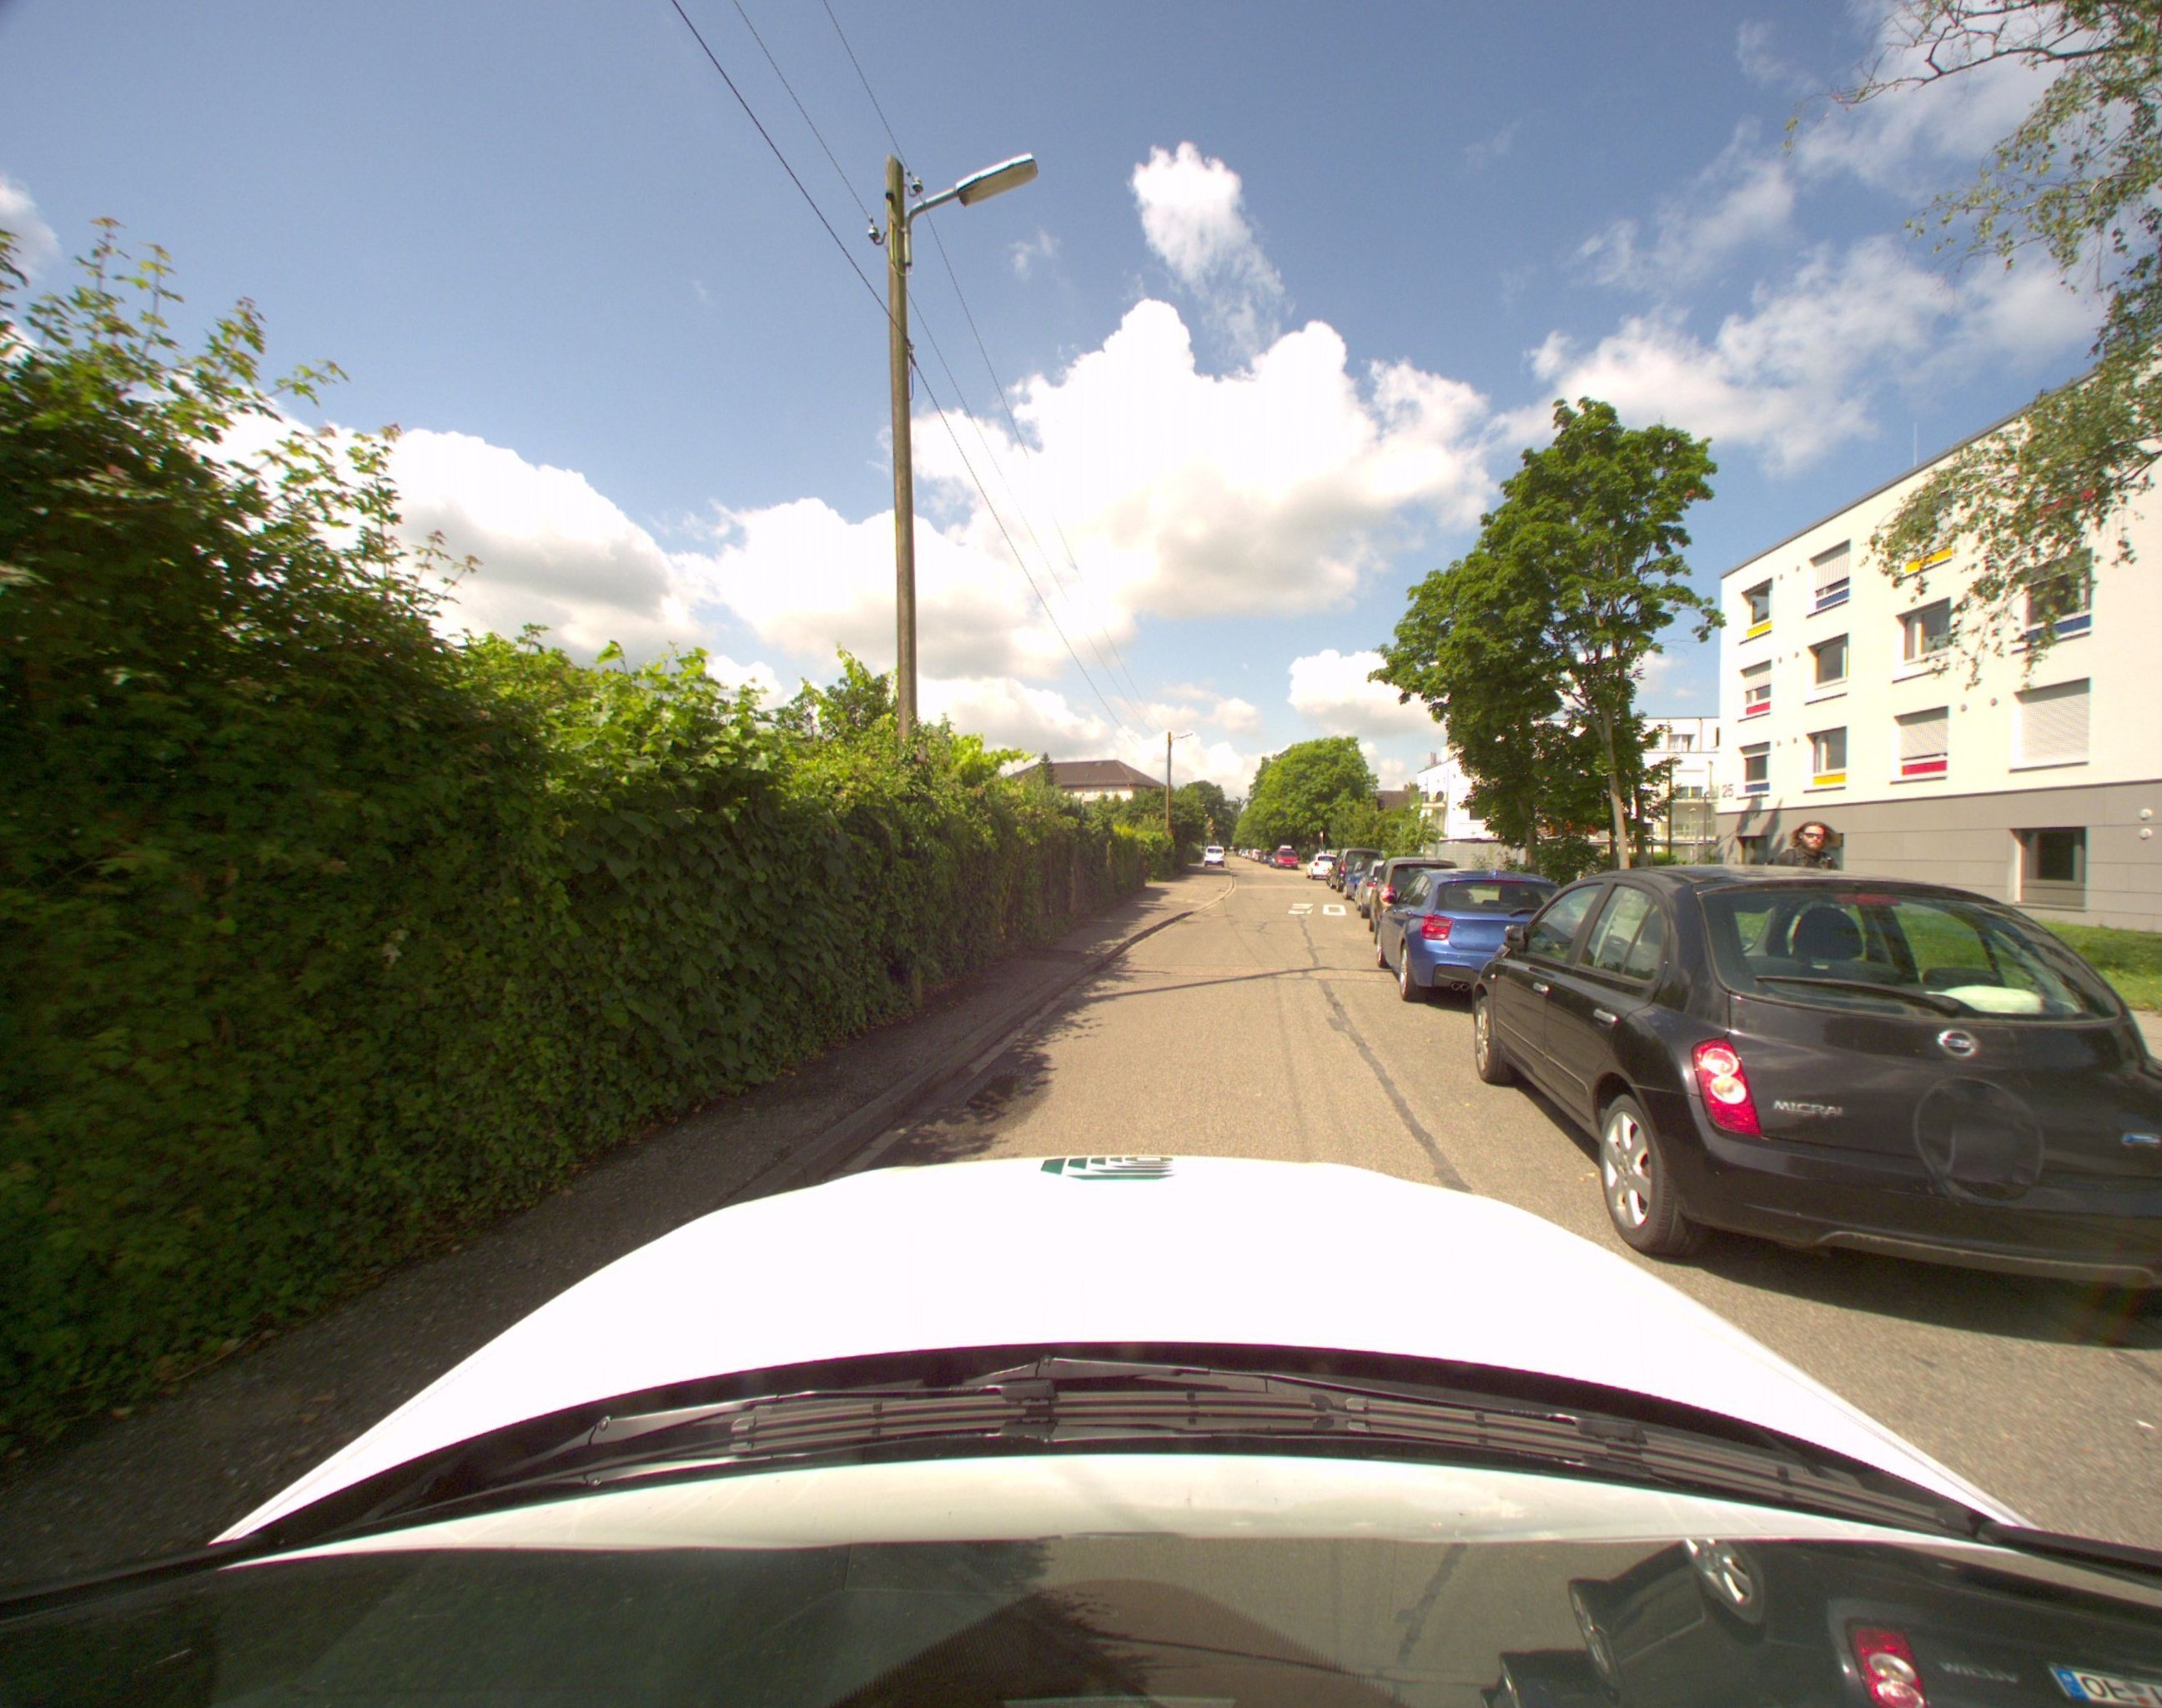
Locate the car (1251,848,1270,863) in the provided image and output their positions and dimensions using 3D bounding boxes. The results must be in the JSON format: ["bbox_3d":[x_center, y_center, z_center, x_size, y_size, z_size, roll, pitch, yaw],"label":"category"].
[{"bbox_3d":[21.109,0.183,95.642,2.044,1.652,4.556,2,1,12],"label":"car"}]

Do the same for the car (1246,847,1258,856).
[{"bbox_3d":[31.486,-0.373,149.867,1.838,1.618,4.016,1,0,14],"label":"car"}]

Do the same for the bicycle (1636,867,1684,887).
[{"bbox_3d":[31.337,1.257,44.103,2.033,1.079,0.690,-1,0,13],"label":"bicycle"}]

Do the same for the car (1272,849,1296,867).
[{"bbox_3d":[19.408,0.351,78.016,2.044,1.652,4.556,2,1,12],"label":"car"}]

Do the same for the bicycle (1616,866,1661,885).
[{"bbox_3d":[31.575,1.208,46.142,2.033,1.079,0.690,-1,0,13],"label":"bicycle"}]

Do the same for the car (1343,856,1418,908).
[{"bbox_3d":[9.388,0.830,25.771,1.653,1.435,3.552,2,1,11],"label":"car"}]

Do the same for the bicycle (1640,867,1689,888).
[{"bbox_3d":[31.046,1.247,43.371,2.033,1.079,0.690,-1,0,13],"label":"bicycle"}]

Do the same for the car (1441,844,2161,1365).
[{"bbox_3d":[3.251,0.750,4.492,1.651,1.506,4.016,2,1,15],"label":"car"}]

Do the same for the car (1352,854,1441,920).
[{"bbox_3d":[7.886,0.760,20.631,1.651,1.439,3.759,2,1,15],"label":"car"}]

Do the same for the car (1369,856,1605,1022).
[{"bbox_3d":[4.503,0.782,9.687,1.651,1.440,4.223,2,1,15],"label":"car"}]

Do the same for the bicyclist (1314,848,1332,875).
[{"bbox_3d":[16.556,0.503,55.652,0.777,1.785,0.899,2,0,42],"label":"bicyclist"}]

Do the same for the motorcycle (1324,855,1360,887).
[{"bbox_3d":[11.716,0.761,36.644,1.418,1.362,0.872,2,0,11],"label":"motorcycle"}]

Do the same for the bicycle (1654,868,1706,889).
[{"bbox_3d":[30.862,1.261,41.970,2.033,1.079,0.690,-1,0,13],"label":"bicycle"}]

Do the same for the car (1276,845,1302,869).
[{"bbox_3d":[18.154,0.225,71.315,2.044,1.926,4.556,2,1,12],"label":"car"}]

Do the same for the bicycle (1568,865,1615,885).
[{"bbox_3d":[27.886,1.147,44.507,2.033,1.079,0.690,-1,0,13],"label":"bicycle"}]

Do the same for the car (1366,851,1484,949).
[{"bbox_3d":[6.351,0.760,15.388,1.650,1.552,3.653,2,1,17],"label":"car"}]

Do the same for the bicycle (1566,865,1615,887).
[{"bbox_3d":[26.905,1.163,43.017,2.074,1.119,0.627,-1,0,14],"label":"bicycle"}]

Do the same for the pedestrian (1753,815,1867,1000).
[{"bbox_3d":[7.279,0.501,8.166,0.605,1.745,0.726,2,0,23],"label":"pedestrian"}]

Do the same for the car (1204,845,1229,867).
[{"bbox_3d":[12.053,0.198,72.293,1.890,1.814,4.014,2,0,12],"label":"car"}]

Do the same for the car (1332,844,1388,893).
[{"bbox_3d":[11.229,0.560,32.954,1.861,1.806,3.446,2,0,15],"label":"car"}]

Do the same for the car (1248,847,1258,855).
[{"bbox_3d":[34.760,-0.609,164.690,1.839,1.618,4.016,2,1,14],"label":"car"}]

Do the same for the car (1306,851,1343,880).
[{"bbox_3d":[13.724,0.617,46.013,1.667,1.519,4.014,2,1,12],"label":"car"}]

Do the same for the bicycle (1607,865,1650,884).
[{"bbox_3d":[32.568,1.204,48.451,2.033,1.079,0.690,-1,0,13],"label":"bicycle"}]

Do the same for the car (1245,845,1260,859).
[{"bbox_3d":[25.419,-0.282,120.813,2.044,1.961,4.556,2,1,12],"label":"car"}]
